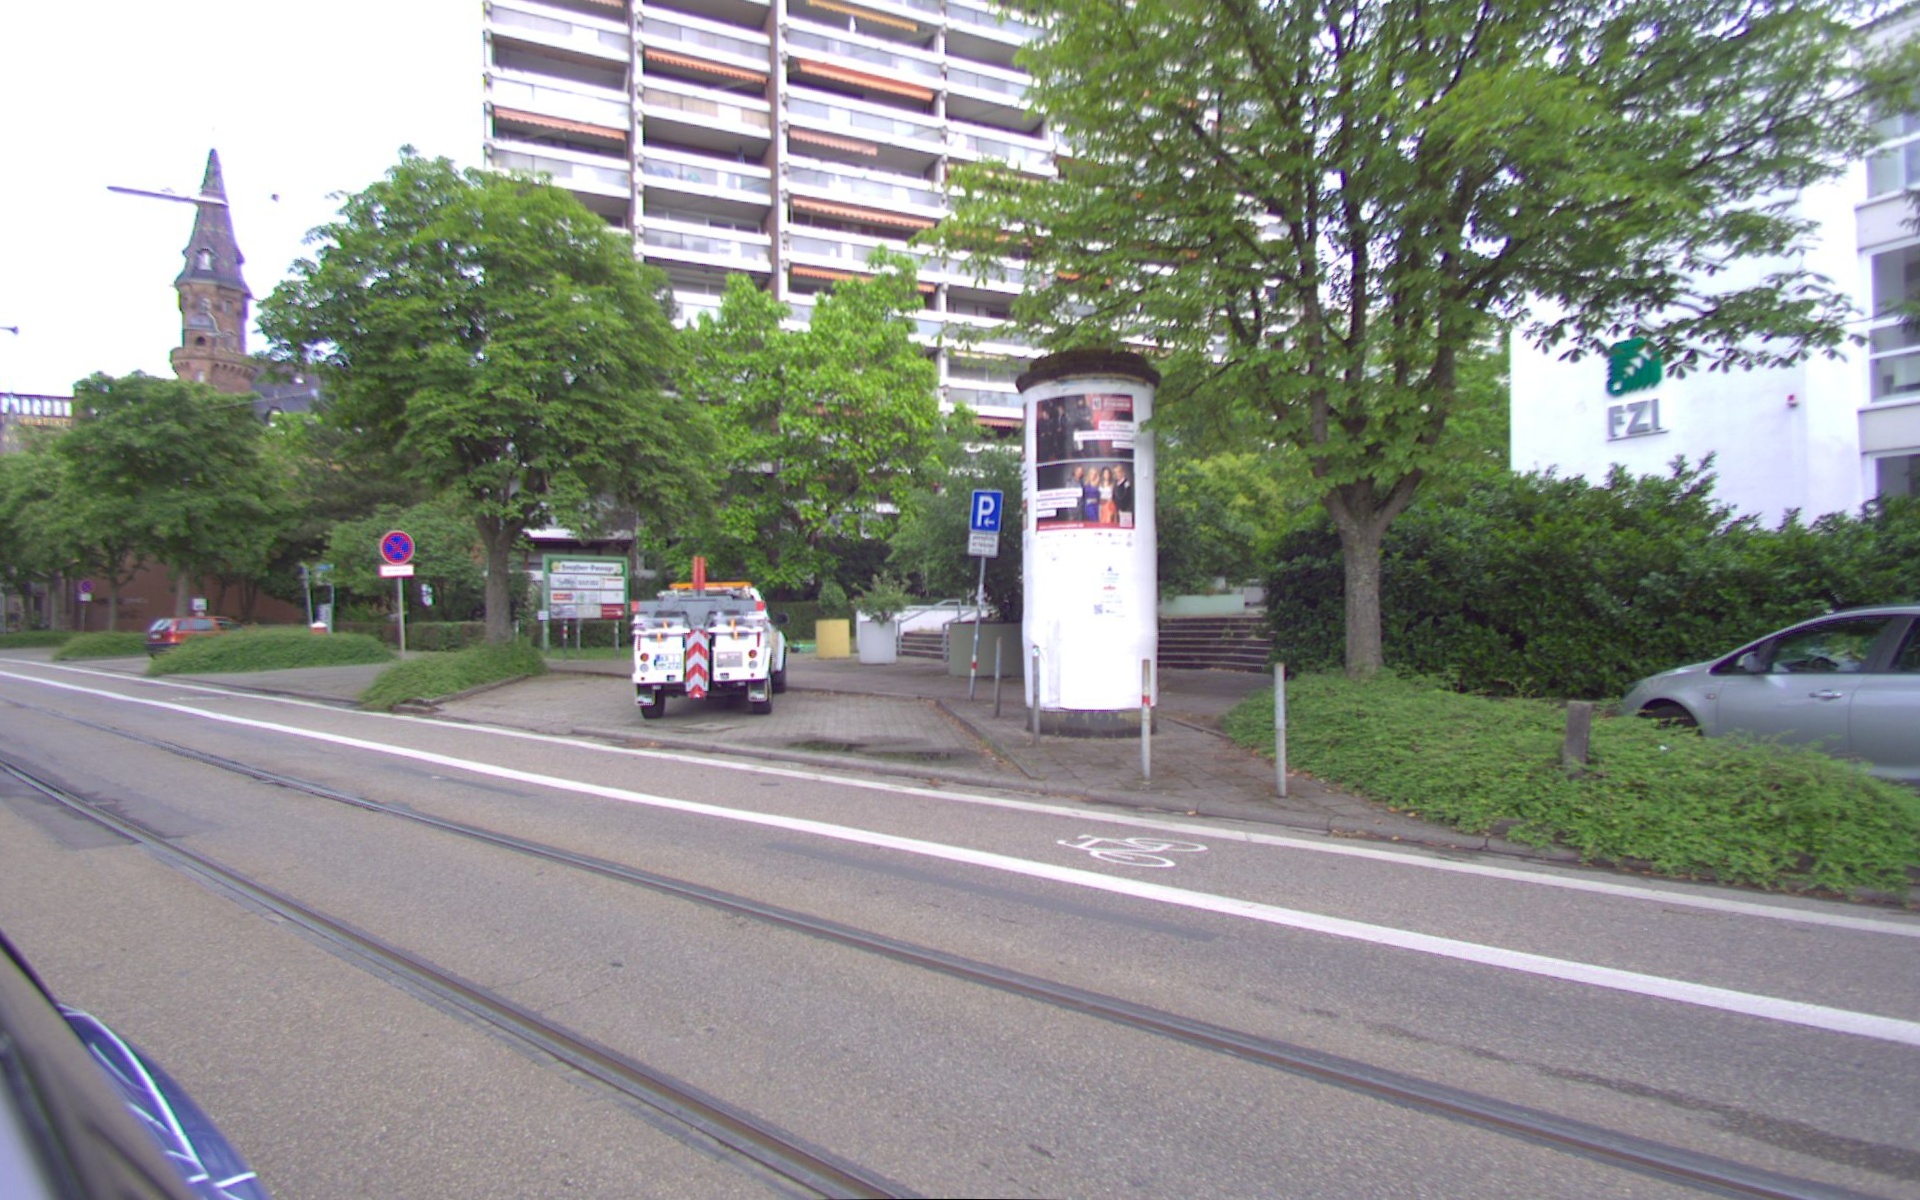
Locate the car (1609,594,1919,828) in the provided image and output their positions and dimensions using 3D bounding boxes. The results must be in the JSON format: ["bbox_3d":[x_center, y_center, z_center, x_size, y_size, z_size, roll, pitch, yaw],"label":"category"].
[{"bbox_3d":[6.925,0.698,6.828,1.775,1.476,4.440,-1,0,-8],"label":"car"}]

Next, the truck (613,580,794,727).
[{"bbox_3d":[-3.744,0.710,15.698,1.969,1.862,5.070,-1,0,-6],"label":"truck"}]

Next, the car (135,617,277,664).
[{"bbox_3d":[-25.143,1.322,33.869,1.625,1.387,3.474,0,0,25],"label":"car"}]
